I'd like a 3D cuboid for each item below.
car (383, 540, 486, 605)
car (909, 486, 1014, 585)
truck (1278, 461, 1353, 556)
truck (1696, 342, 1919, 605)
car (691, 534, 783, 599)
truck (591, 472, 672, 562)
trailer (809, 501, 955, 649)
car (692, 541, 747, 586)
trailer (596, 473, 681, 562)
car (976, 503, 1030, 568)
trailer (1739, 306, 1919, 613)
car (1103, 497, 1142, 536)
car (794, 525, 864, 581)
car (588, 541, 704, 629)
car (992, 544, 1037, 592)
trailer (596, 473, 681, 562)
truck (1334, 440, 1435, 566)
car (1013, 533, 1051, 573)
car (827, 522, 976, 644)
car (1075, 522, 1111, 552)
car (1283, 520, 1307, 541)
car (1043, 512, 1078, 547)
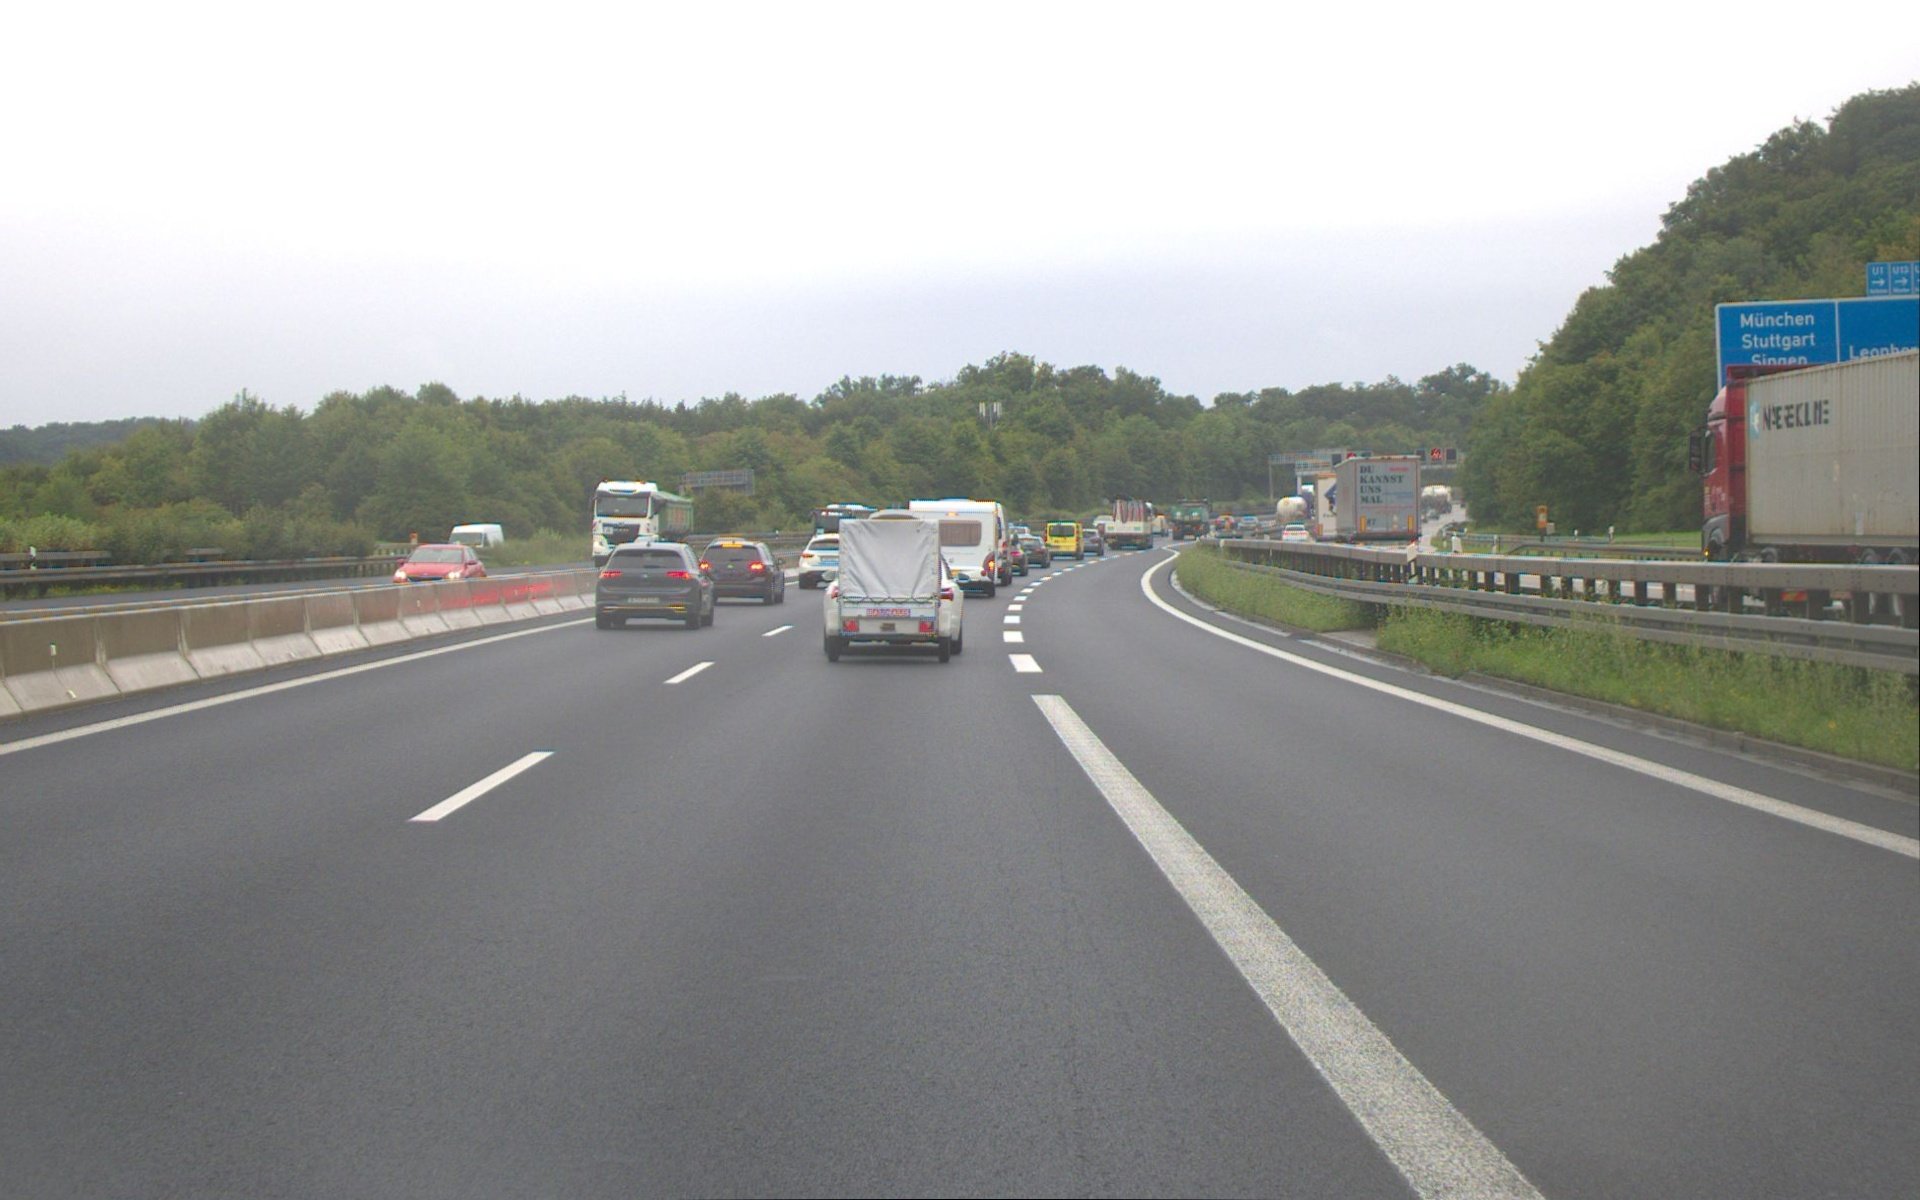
[{"bbox_3d":[-13.130,-0.704,86.146,1.808,1.575,4.356,0,1,1],"label":"car"},{"bbox_3d":[0.076,-1.725,92.465,2.508,2.576,5.699,0,1,3],"label":"car"},{"bbox_3d":[18.053,-4.598,175.164,3.216,4.650,13.031,0,1,3],"label":"truck"},{"bbox_3d":[13.526,-1.906,53.921,2.616,3.871,6.392,0,1,0],"label":"truck"},{"bbox_3d":[-5.125,-0.781,79.383,1.765,1.451,4.000,0,1,1],"label":"car"},{"bbox_3d":[-13.846,-3.479,145.192,2.887,3.736,5.945,0,1,-1],"label":"truck"},{"bbox_3d":[-0.955,-0.328,43.992,1.676,1.806,4.000,0,1,1],"label":"trailer"},{"bbox_3d":[-10.058,-1.530,143.963,1.895,1.869,4.542,0,1,1],"label":"car"},{"bbox_3d":[-13.891,-3.533,149.216,2.903,3.736,8.928,0,1,-1],"label":"trailer"},{"bbox_3d":[1.382,-2.081,110.883,1.676,2.060,4.000,0,1,0],"label":"car"},{"bbox_3d":[13.473,-1.841,47.640,2.604,3.881,12.491,0,1,0],"label":"trailer"},{"bbox_3d":[10.928,-5.593,231.398,2.516,2.566,5.311,0,1,4],"label":"car"},{"bbox_3d":[-3.896,-1.409,102.938,1.776,1.634,4.043,0,1,2],"label":"car"},{"bbox_3d":[-5.318,-0.269,58.652,1.675,1.451,4.000,0,1,-1],"label":"car"},{"bbox_3d":[2.110,-1.243,131.863,1.676,1.806,4.000,0,1,1],"label":"car"},{"bbox_3d":[-13.891,-3.533,149.216,2.903,3.736,8.928,0,1,-1],"label":"trailer"},{"bbox_3d":[16.456,-3.695,133.929,3.216,4.650,13.031,0,1,4],"label":"truck"},{"bbox_3d":[3.247,-2.113,155.083,1.676,1.806,4.000,0,1,1],"label":"car"},{"bbox_3d":[-0.768,-0.256,47.787,1.818,1.610,4.777,0,1,2],"label":"car"},{"bbox_3d":[7.813,-3.677,201.162,2.037,1.677,4.000,0,1,3],"label":"car"},{"bbox_3d":[23.700,-4.922,243.196,1.676,1.451,3.999,0,1,6],"label":"car"},{"bbox_3d":[5.322,-3.716,182.164,1.676,1.806,3.999,0,1,4],"label":"car"}]
